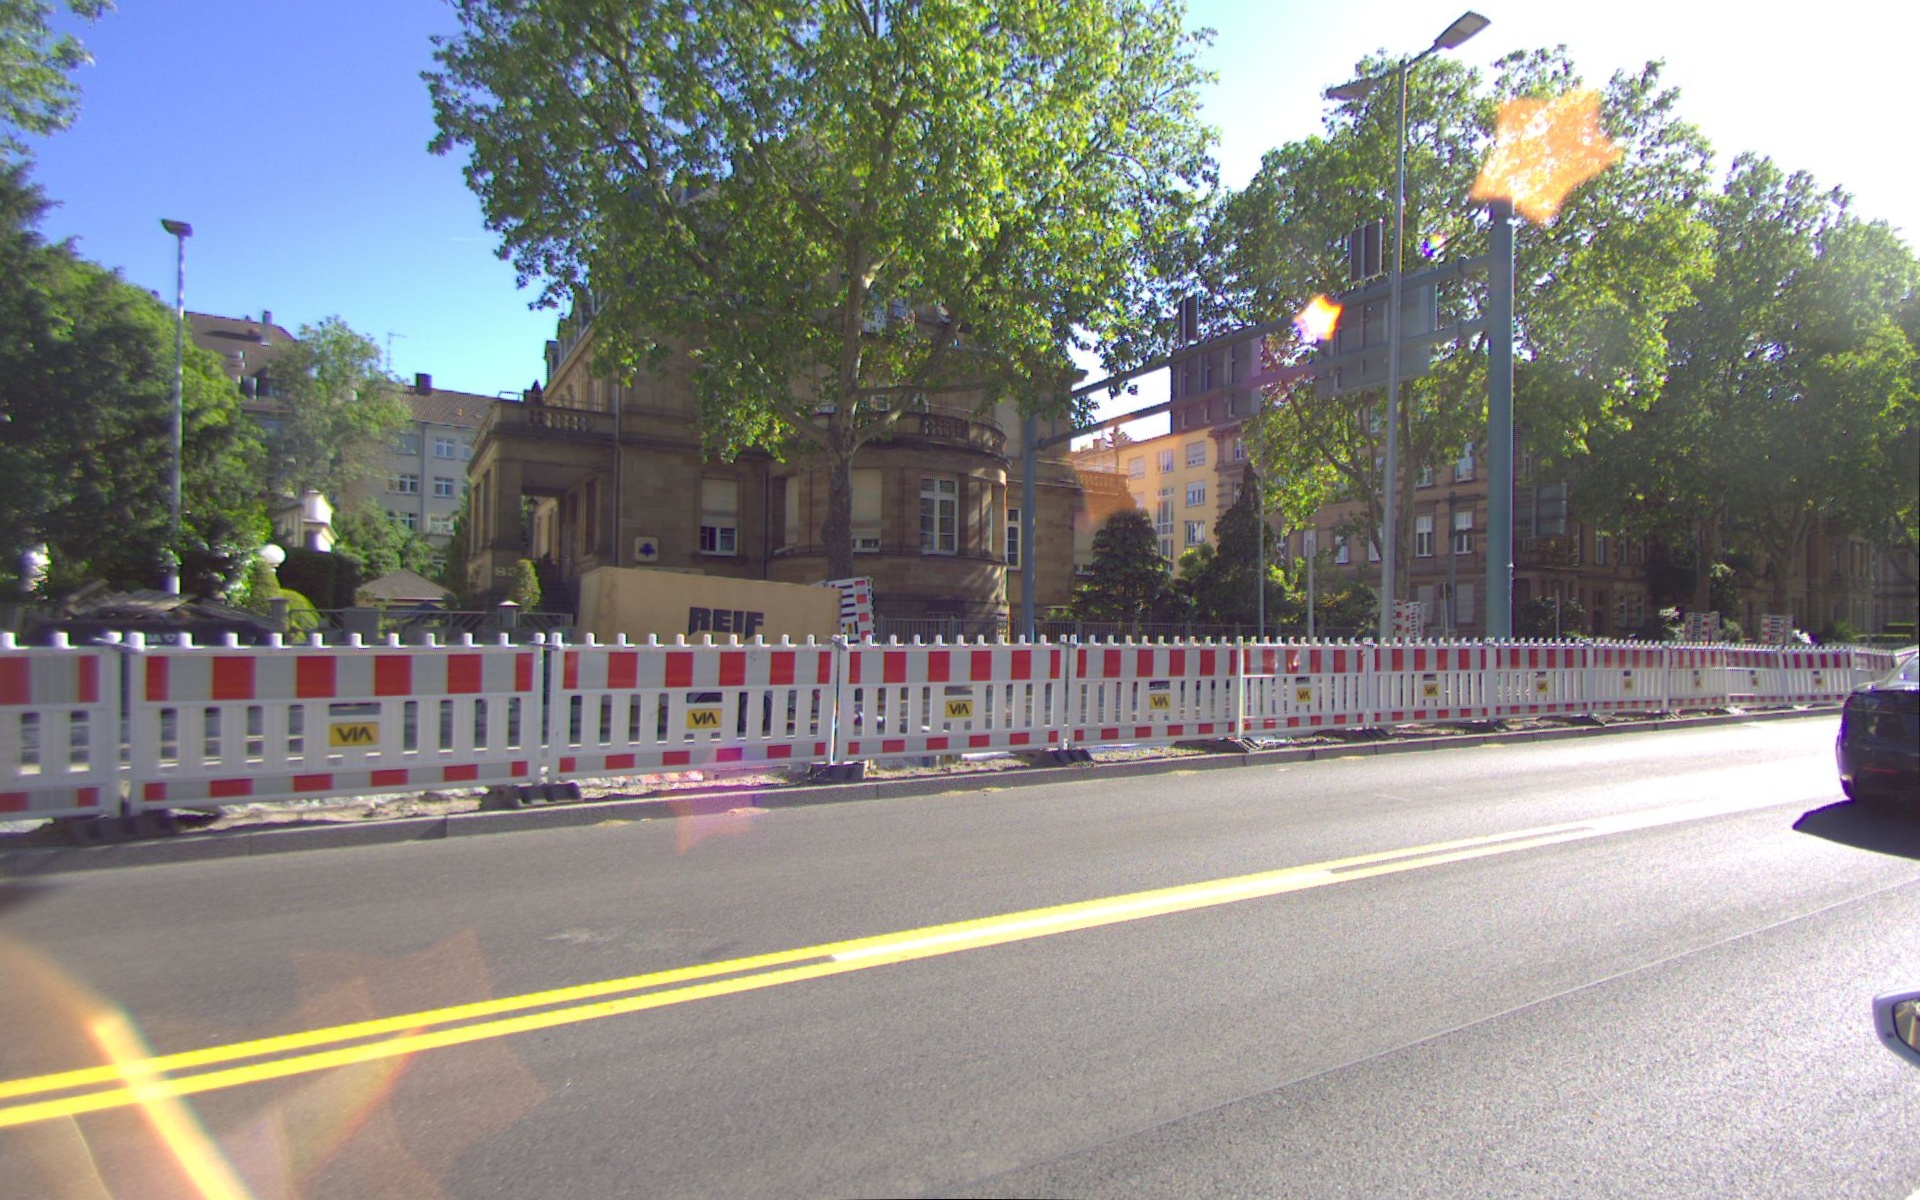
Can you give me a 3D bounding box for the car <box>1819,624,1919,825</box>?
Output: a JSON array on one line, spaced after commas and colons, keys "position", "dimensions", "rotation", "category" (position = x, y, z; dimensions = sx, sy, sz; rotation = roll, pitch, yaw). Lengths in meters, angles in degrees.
[{"position": [9.250, 0.991, 8.394], "dimensions": [4.424, 1.502, 1.829], "rotation": [2, -1, -31], "category": "car"}]
